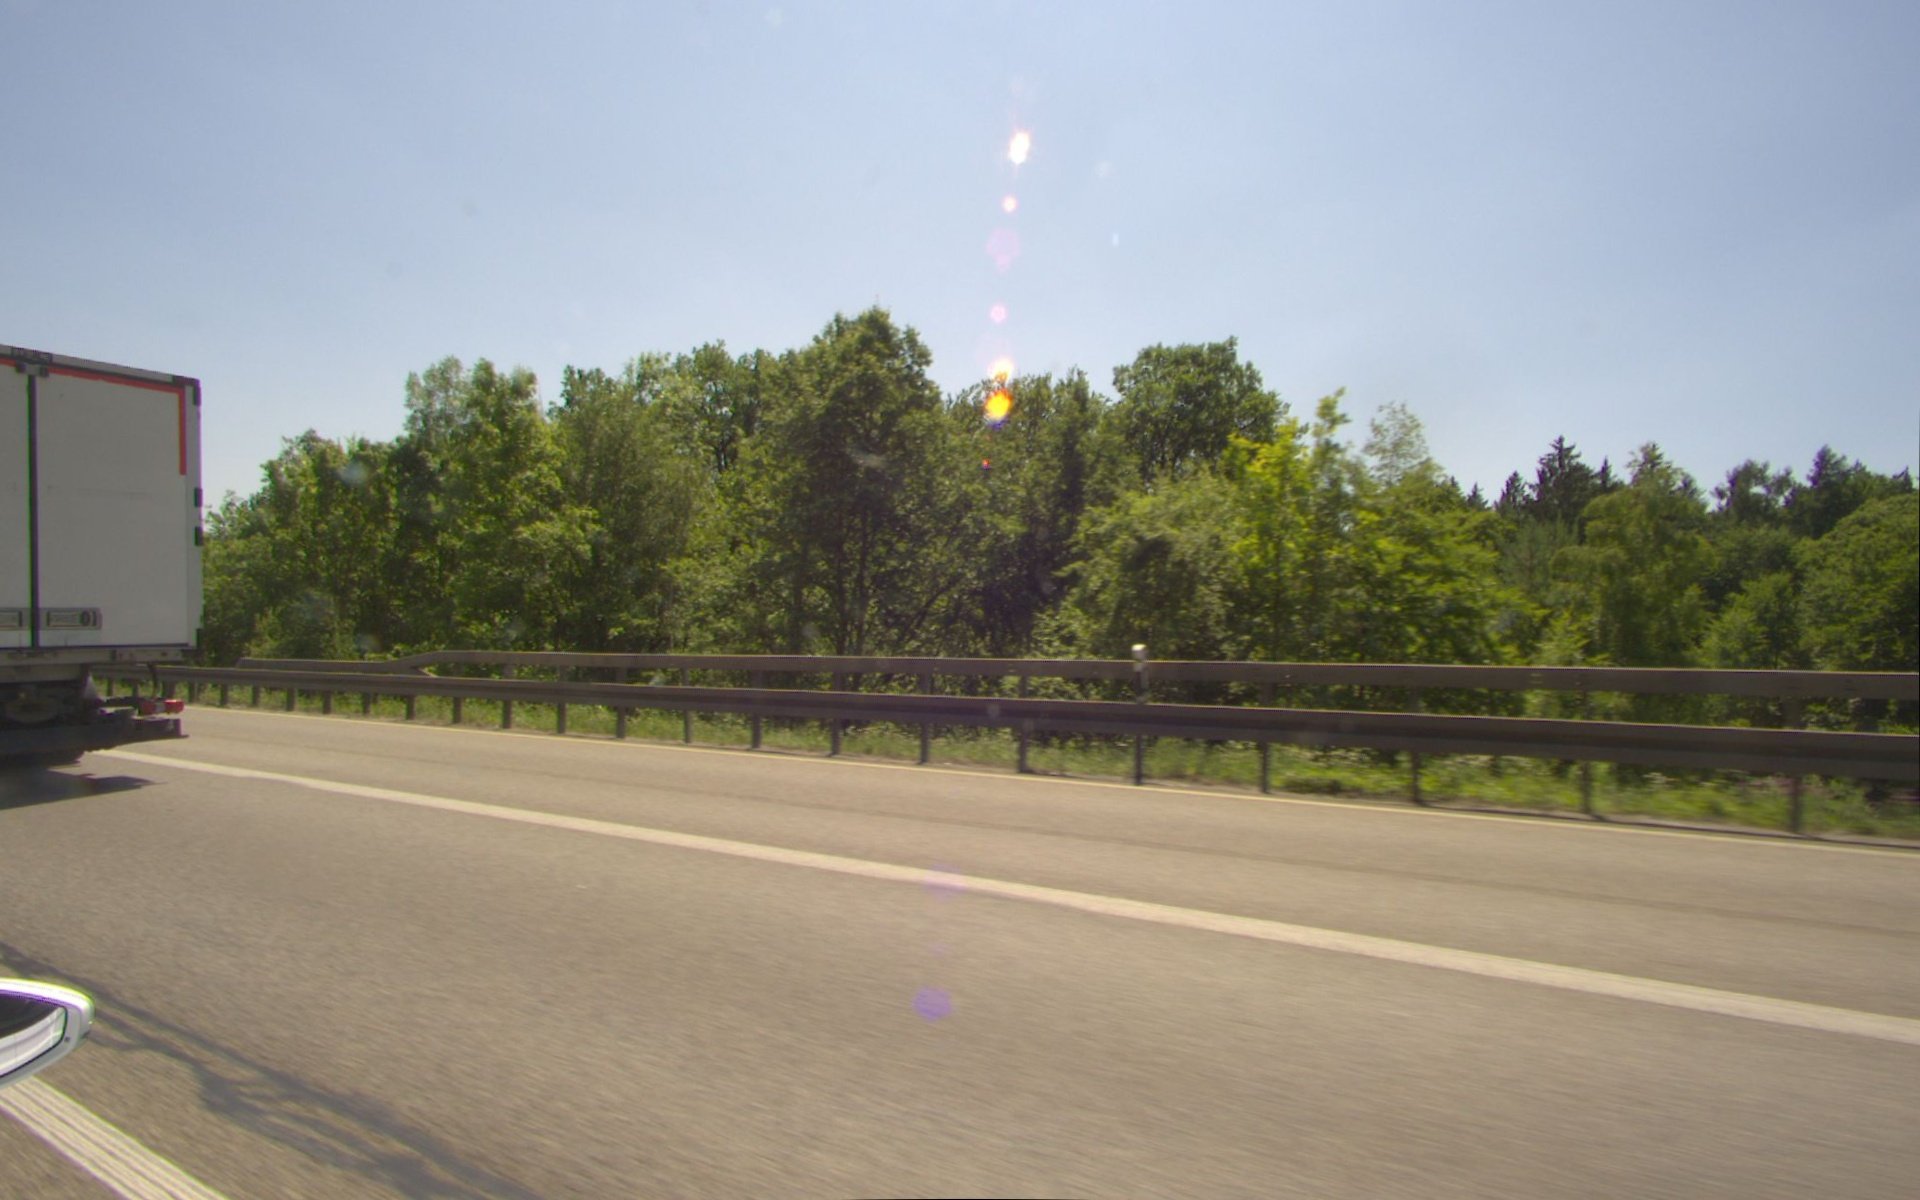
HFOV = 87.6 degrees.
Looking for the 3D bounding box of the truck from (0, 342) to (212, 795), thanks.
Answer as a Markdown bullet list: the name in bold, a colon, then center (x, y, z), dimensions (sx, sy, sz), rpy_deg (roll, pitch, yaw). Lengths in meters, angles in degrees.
- **truck**: center (-12.307, -0.210, 11.368), dimensions (9.636, 3.926, 2.684), rpy_deg (-1, -1, 31)
